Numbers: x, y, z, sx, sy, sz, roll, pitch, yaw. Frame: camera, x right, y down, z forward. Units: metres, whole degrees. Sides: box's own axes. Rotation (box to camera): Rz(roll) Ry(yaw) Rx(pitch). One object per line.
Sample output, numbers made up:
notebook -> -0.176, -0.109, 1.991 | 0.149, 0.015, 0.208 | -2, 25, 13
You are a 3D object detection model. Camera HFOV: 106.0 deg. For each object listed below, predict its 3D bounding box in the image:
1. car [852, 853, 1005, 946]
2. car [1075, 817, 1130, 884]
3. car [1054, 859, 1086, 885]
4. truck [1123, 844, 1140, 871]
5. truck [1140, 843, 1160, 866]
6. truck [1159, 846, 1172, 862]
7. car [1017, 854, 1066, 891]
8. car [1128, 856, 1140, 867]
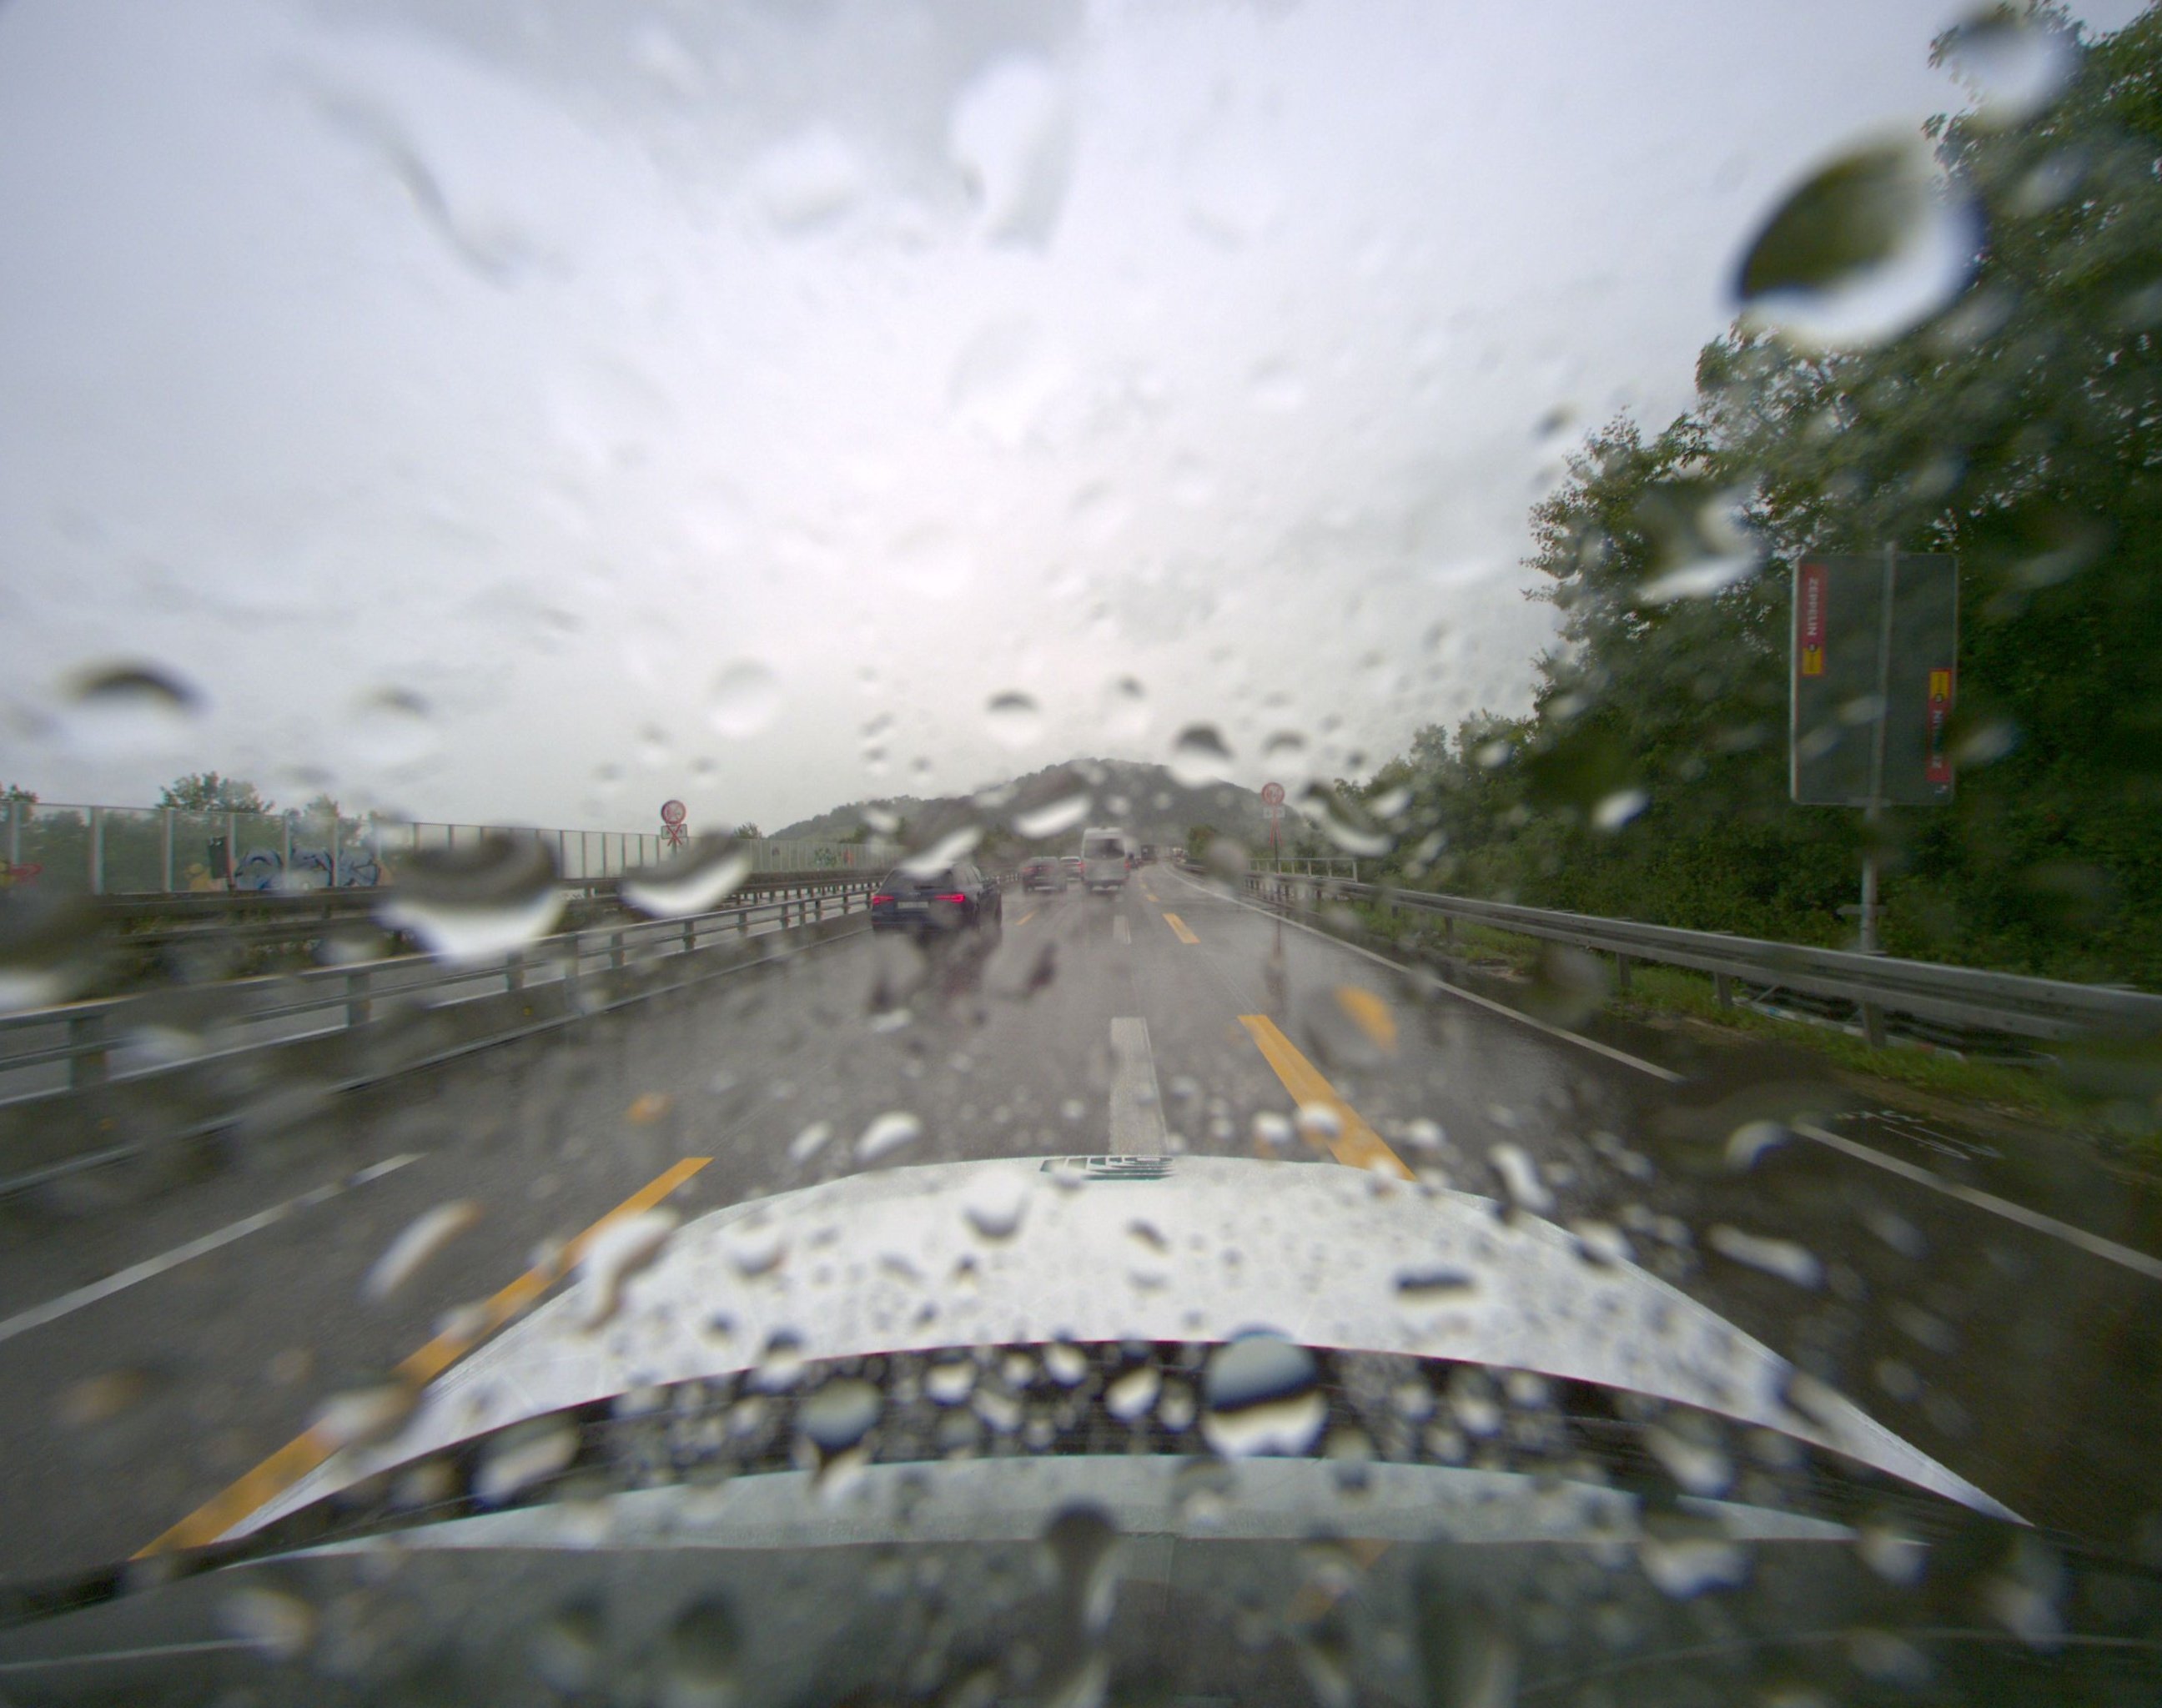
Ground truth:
car -> -2.702, 0.766, 15.577 | 1.987, 1.498, 4.630 | -1, -1, 0
car -> 0.952, -0.094, 34.298 | 2.136, 2.571, 5.392 | 0, -1, 2
car -> -0.714, 1.154, 53.584 | 1.988, 1.617, 4.794 | 0, -1, -1
truck -> 6.085, 0.470, 98.984 | 1.985, 3.109, 8.505 | 0, -1, 3
truck -> 13.578, 0.117, 160.346 | 3.562, 4.406, 9.641 | 0, -1, 7
truck -> 24.141, 0.000, 232.607 | 3.019, 4.406, 9.646 | -1, -1, 8
car -> -1.741, 0.836, 37.447 | 1.987, 1.585, 4.413 | 0, -1, 0
car -> 7.707, 1.101, 118.047 | 1.765, 1.475, 4.005 | 0, -1, 5
